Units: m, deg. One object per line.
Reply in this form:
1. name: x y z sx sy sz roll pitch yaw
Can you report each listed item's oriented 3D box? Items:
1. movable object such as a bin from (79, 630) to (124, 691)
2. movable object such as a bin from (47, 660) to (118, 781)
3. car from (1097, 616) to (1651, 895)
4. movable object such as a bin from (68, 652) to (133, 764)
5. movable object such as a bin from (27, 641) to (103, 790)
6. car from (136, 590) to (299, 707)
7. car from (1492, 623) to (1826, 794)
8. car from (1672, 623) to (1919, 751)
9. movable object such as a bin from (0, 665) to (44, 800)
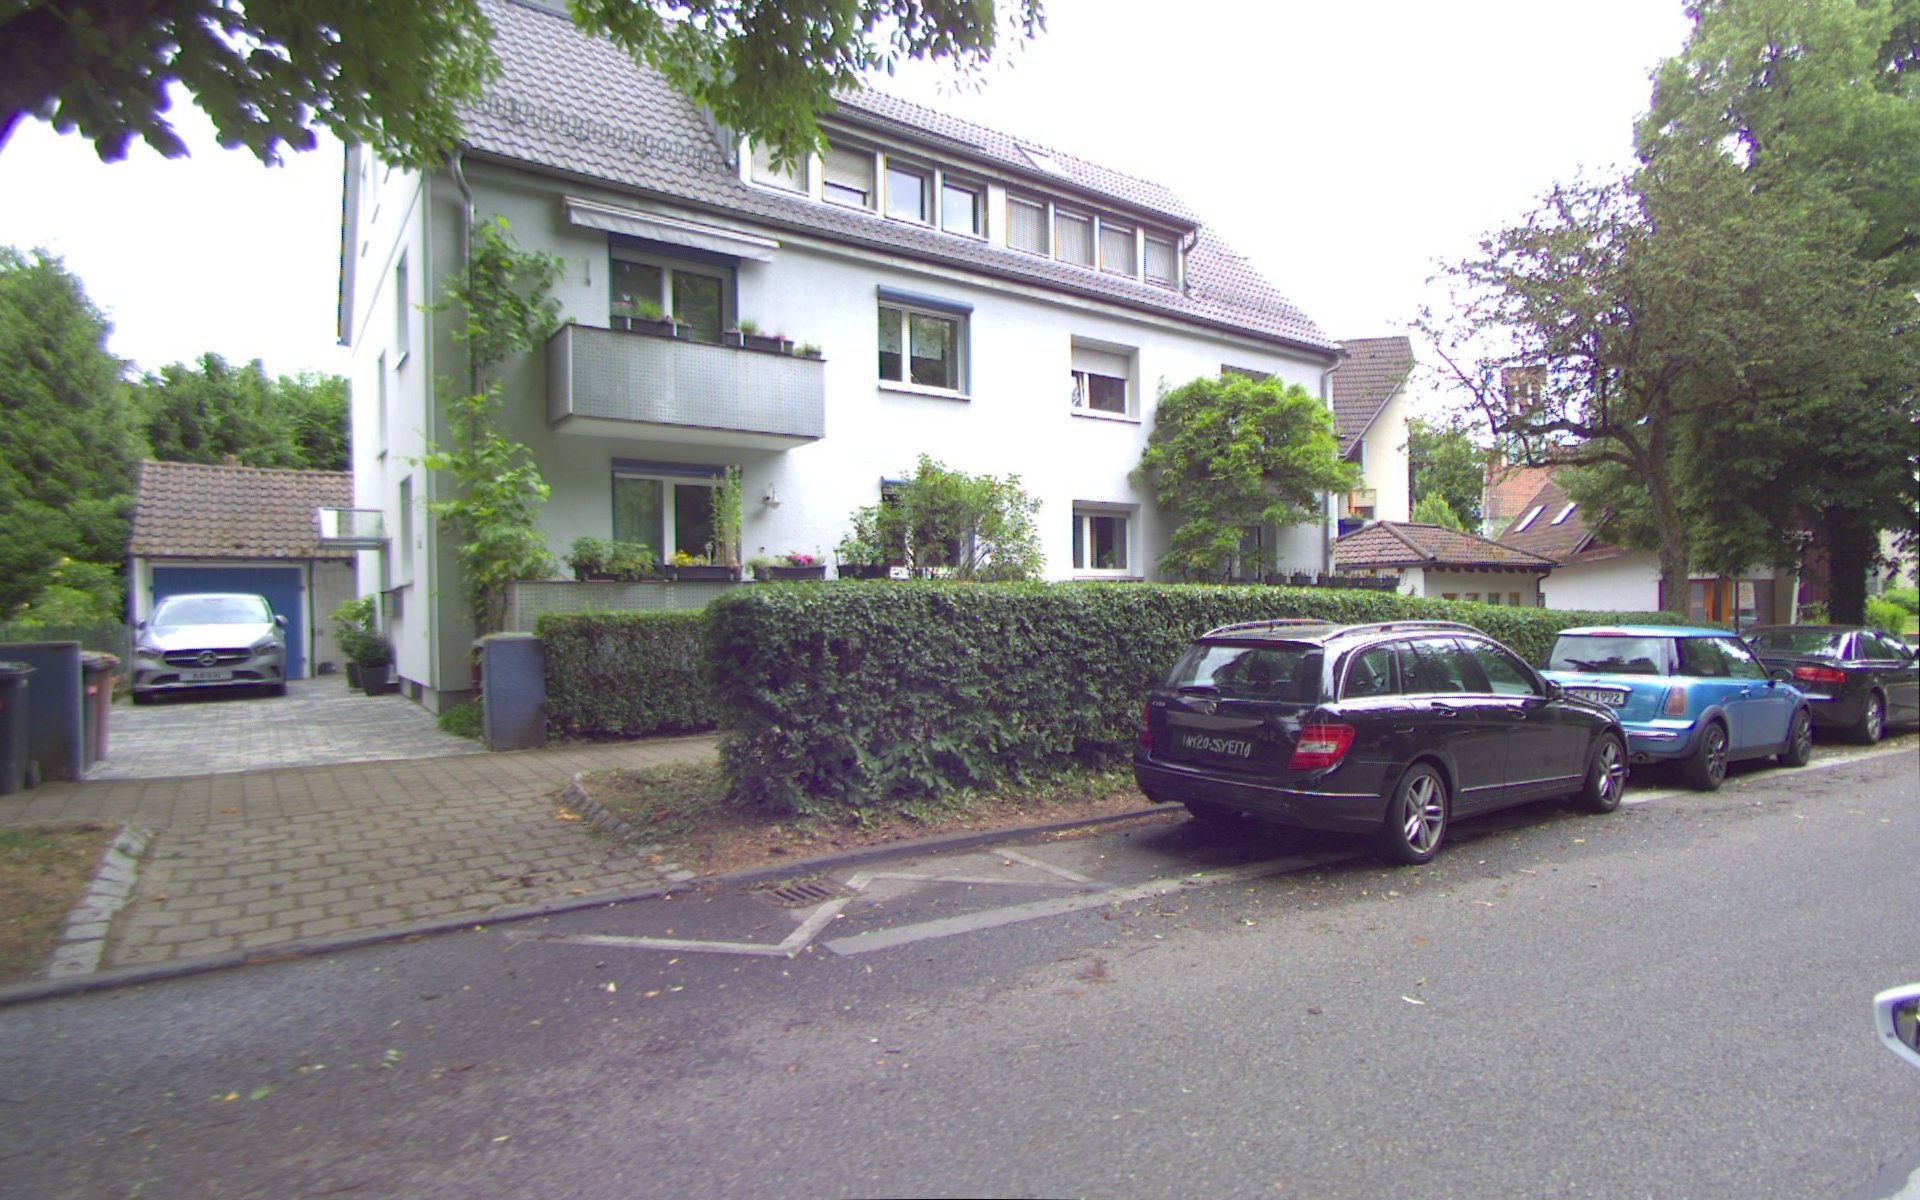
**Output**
1. movable object such as a bin: -15.250 1.063 17.857 0.543 1.053 0.500 1 -2 -35
2. movable object such as a bin: -7.081 0.957 8.117 0.402 0.925 0.377 1 -2 -39
3. car: 3.213 0.880 7.417 4.376 1.492 1.782 1 -2 -36
4. movable object such as a bin: -7.423 0.920 8.689 0.402 0.925 0.377 1 -2 -39
5. movable object such as a bin: -6.902 0.867 7.755 0.402 1.103 0.377 1 -2 -39
6. car: -11.356 0.705 15.298 1.785 1.530 3.956 0 -2 -39
7. car: 7.102 0.946 10.112 3.671 1.410 1.653 1 -2 -36
8. car: 11.538 1.037 13.385 4.595 1.429 1.784 1 -2 -33
9. movable object such as a bin: -6.887 0.938 7.149 0.504 0.927 0.452 1 -2 -40
